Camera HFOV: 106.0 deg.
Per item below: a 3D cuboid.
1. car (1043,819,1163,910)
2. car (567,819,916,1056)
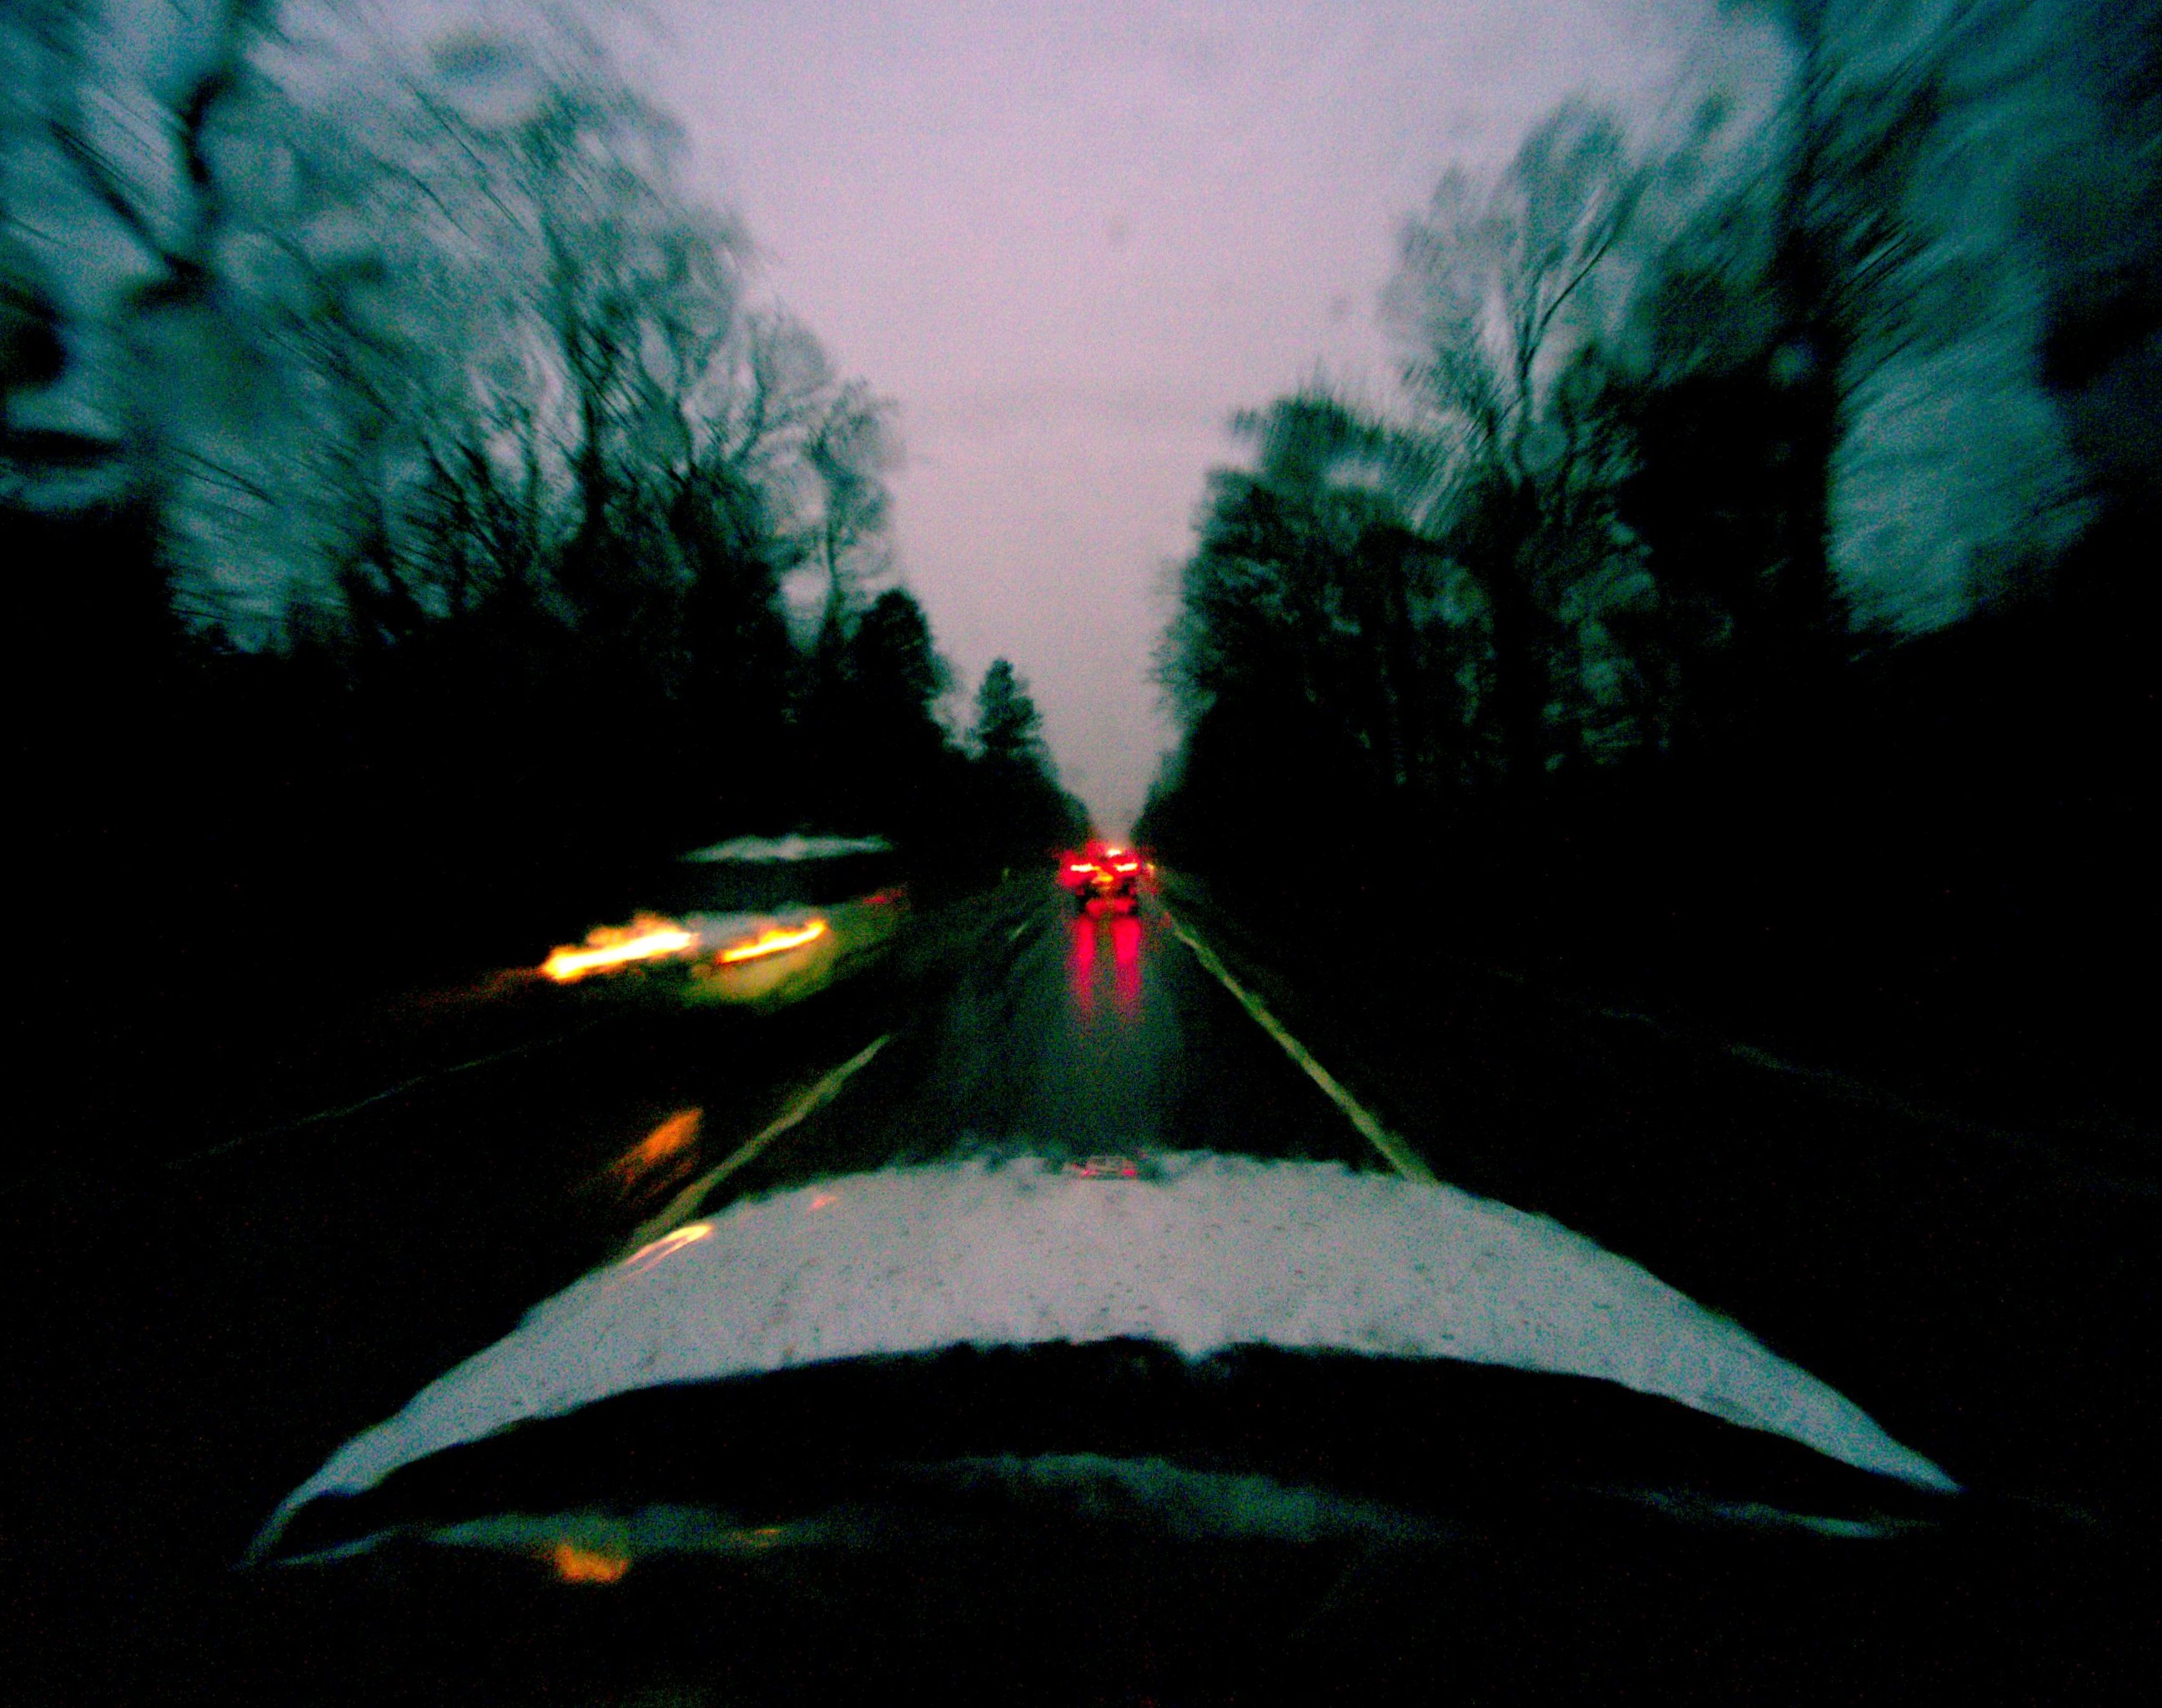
[{"bbox_3d":[0.726,0.269,25.059,3.171,2.386,6.640,-1,0,2],"label":"car"},{"bbox_3d":[-3.272,0.696,8.980,1.790,1.881,4.427,-3,0,2],"label":"car"}]
